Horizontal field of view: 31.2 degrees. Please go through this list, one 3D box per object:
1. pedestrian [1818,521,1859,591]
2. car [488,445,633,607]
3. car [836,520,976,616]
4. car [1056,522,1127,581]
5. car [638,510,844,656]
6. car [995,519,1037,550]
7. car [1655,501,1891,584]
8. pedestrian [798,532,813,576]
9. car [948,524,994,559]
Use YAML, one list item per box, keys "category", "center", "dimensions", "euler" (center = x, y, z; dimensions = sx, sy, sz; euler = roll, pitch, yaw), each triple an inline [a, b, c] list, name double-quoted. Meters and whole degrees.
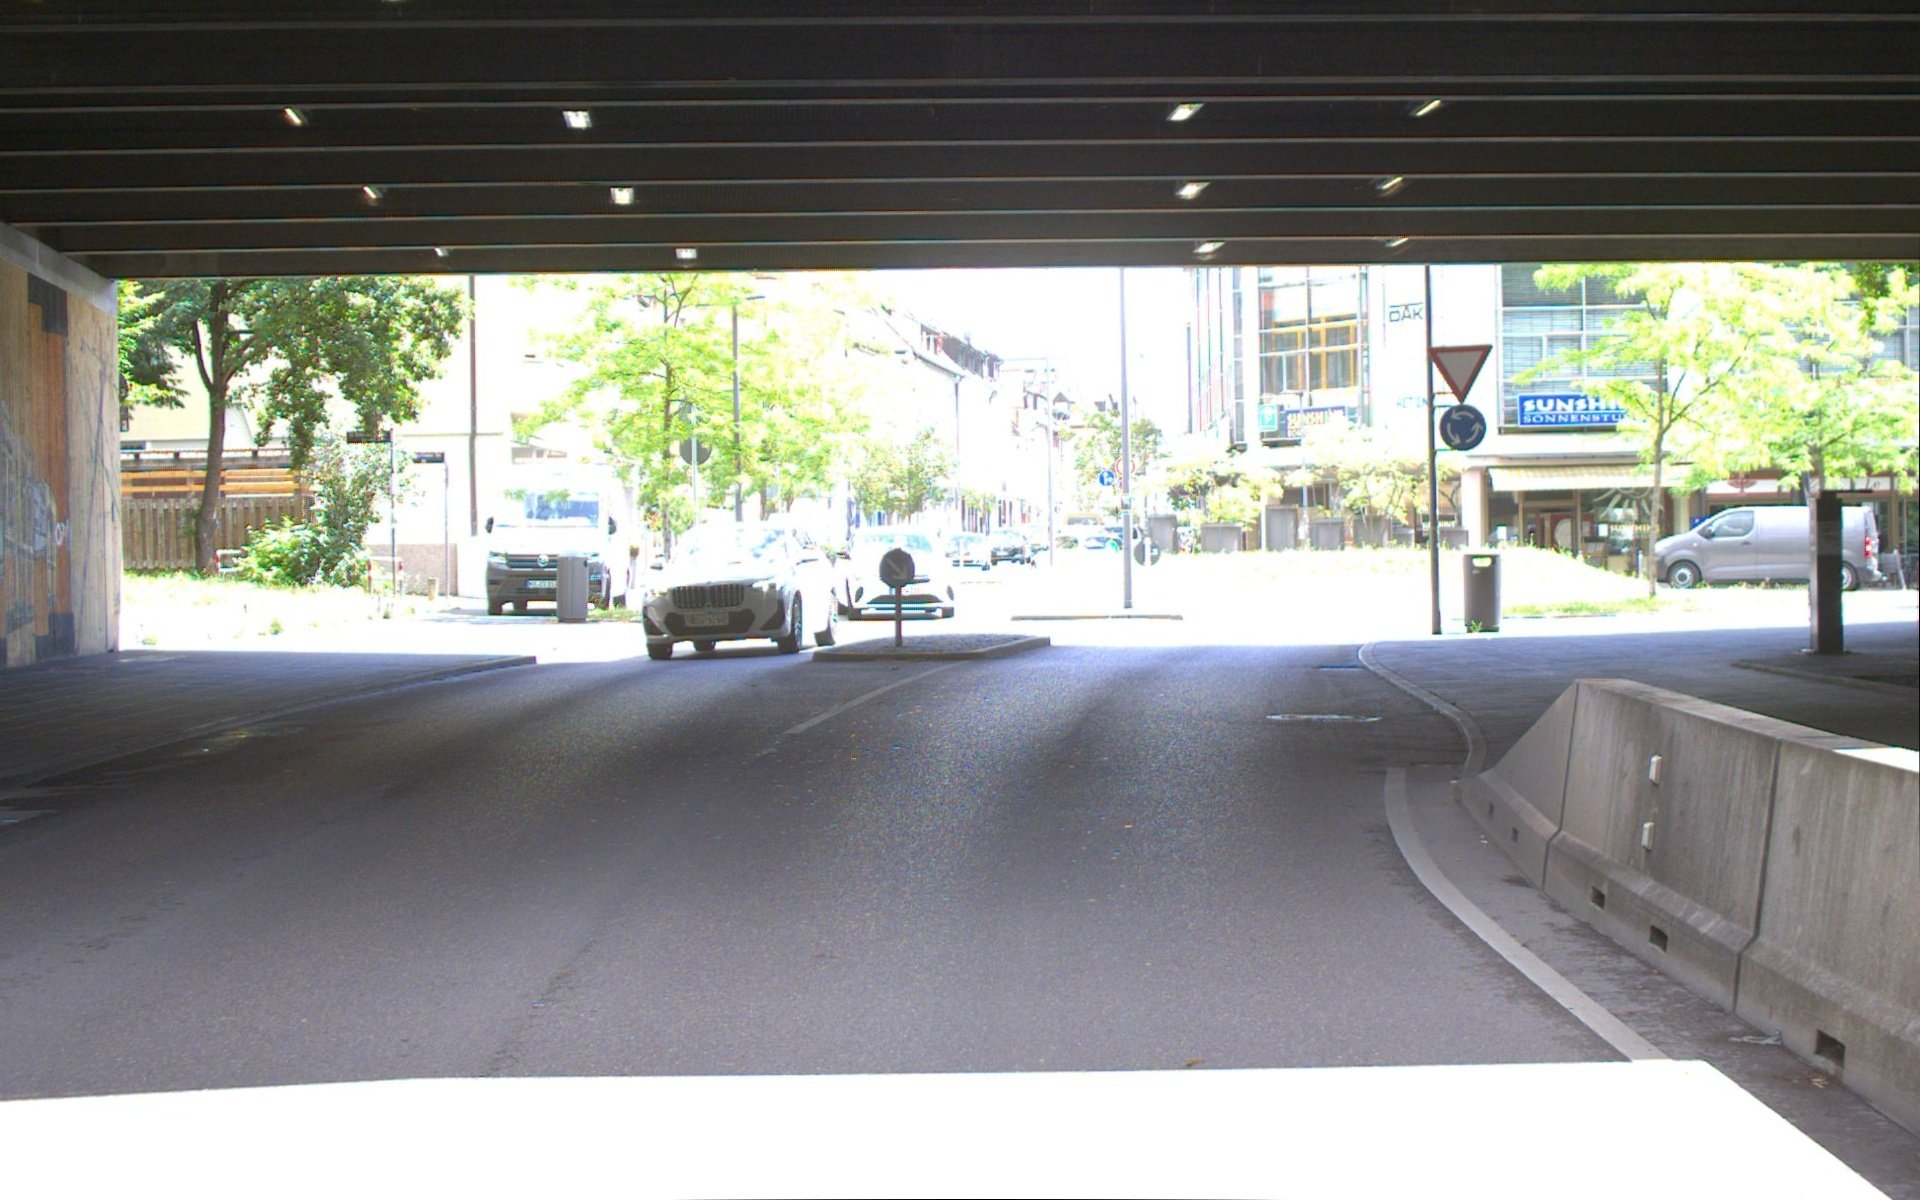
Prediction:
- category: "pedestrian"
  center: [20.809, -1.045, 81.452]
  dimensions: [0.695, 1.669, 0.617]
  euler: [0, 1, -21]
- category: "car"
  center: [-6.768, -1.259, 58.826]
  dimensions: [1.967, 2.598, 5.931]
  euler: [1, 1, -2]
- category: "car"
  center: [-0.828, -0.538, 55.275]
  dimensions: [1.672, 1.442, 3.851]
  euler: [-2, 1, 8]
- category: "car"
  center: [3.526, -1.306, 92.753]
  dimensions: [1.824, 1.514, 4.233]
  euler: [-1, 1, 1]
- category: "car"
  center: [-2.635, -0.246, 42.252]
  dimensions: [1.825, 1.648, 4.213]
  euler: [-2, 1, 6]
- category: "car"
  center: [2.463, -2.912, 152.584]
  dimensions: [1.709, 1.349, 4.000]
  euler: [0, 1, -1]
- category: "car"
  center: [17.576, -1.245, 74.299]
  dimensions: [4.683, 1.682, 1.998]
  euler: [-1, 1, 22]
- category: "pedestrian"
  center: [-5.833, -1.738, 129.919]
  dimensions: [0.551, 1.680, 0.516]
  euler: [0, 1, -1]
- category: "car"
  center: [0.420, -2.297, 133.903]
  dimensions: [1.709, 1.349, 4.000]
  euler: [0, 1, -1]
